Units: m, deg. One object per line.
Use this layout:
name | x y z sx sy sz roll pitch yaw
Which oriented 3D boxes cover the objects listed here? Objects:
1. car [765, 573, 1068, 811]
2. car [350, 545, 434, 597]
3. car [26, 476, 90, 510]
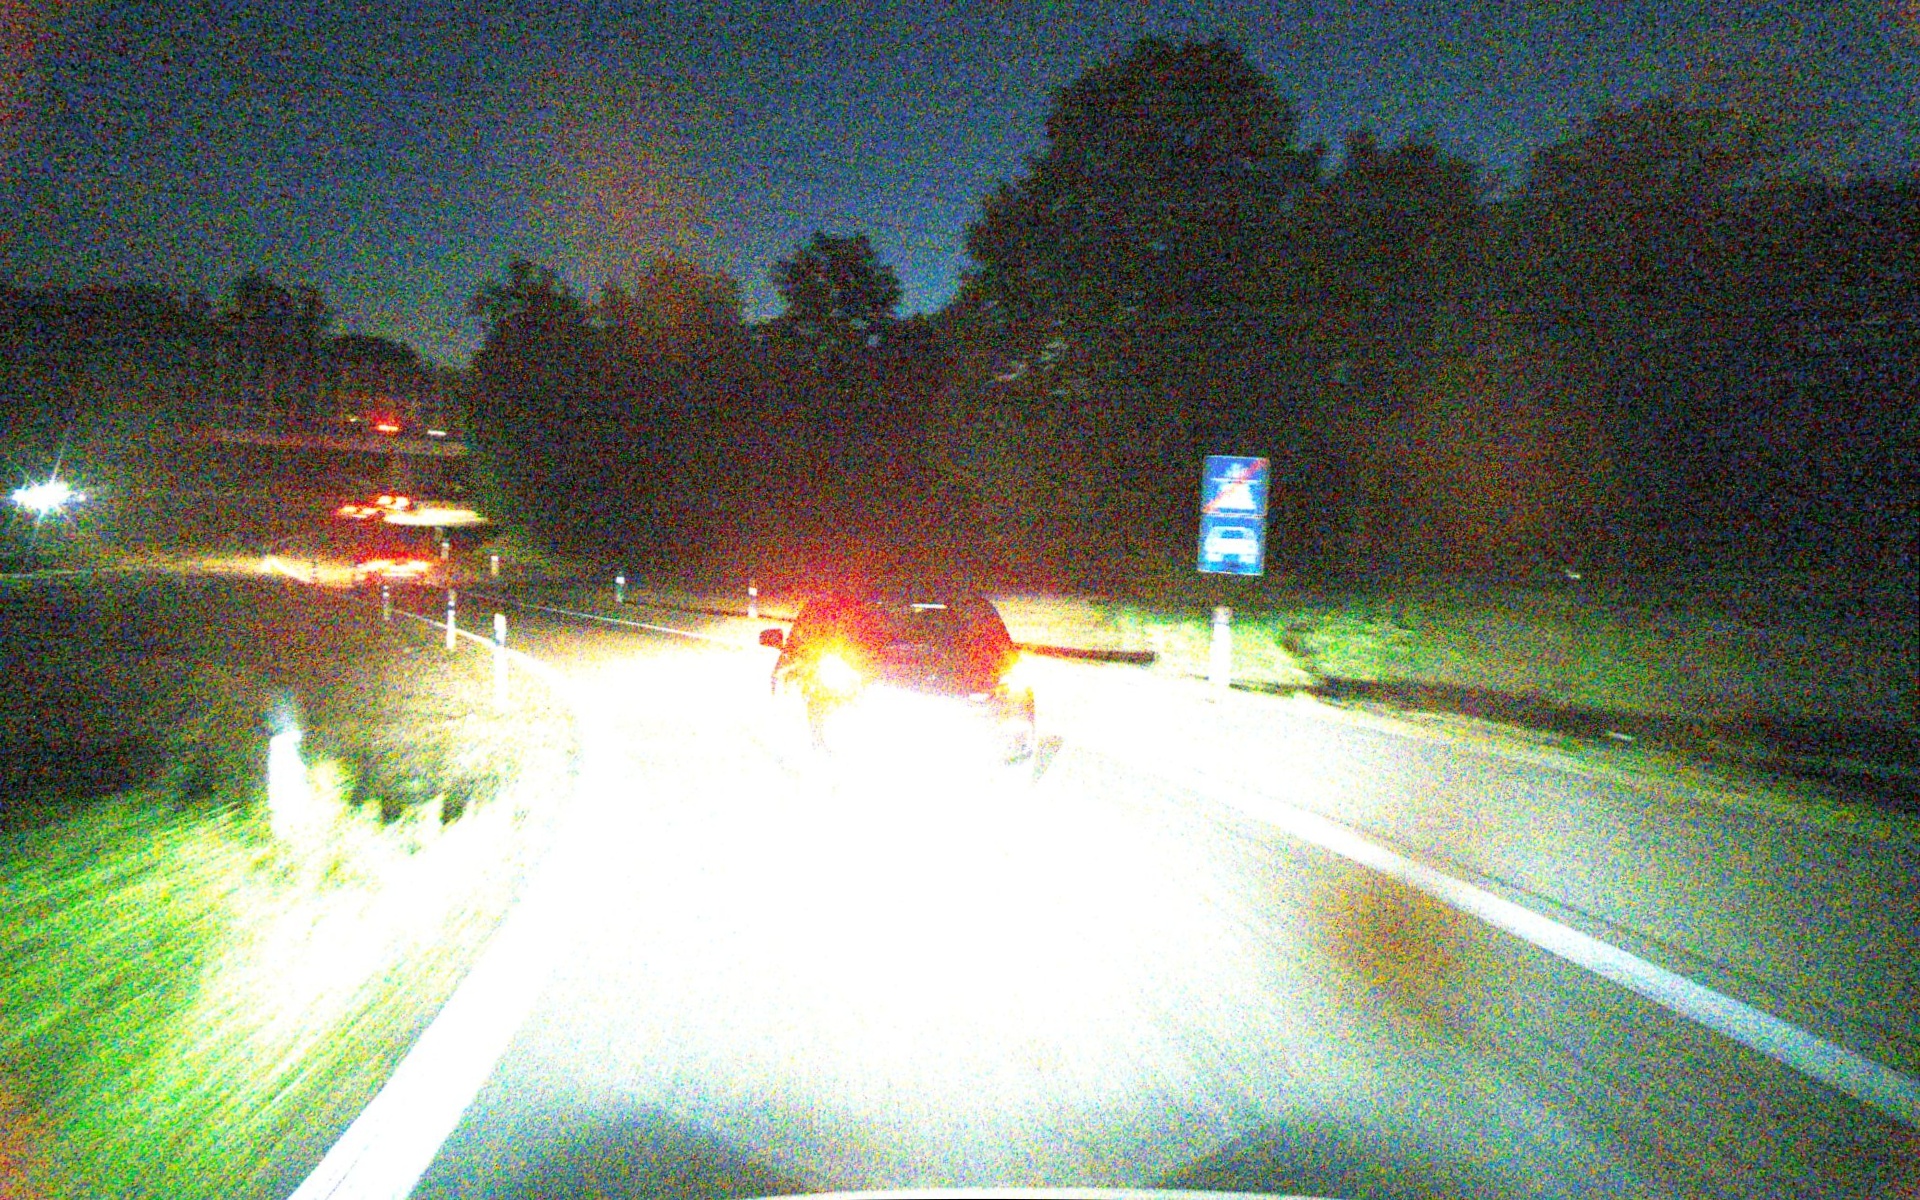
car | -0.498 0.557 12.702 1.661 1.503 3.989 0 1 -12
car | -18.364 -0.983 53.391 1.929 1.564 4.203 -1 3 -28
car | -54.331 -6.420 99.688 1.774 1.918 3.999 2 3 -3
